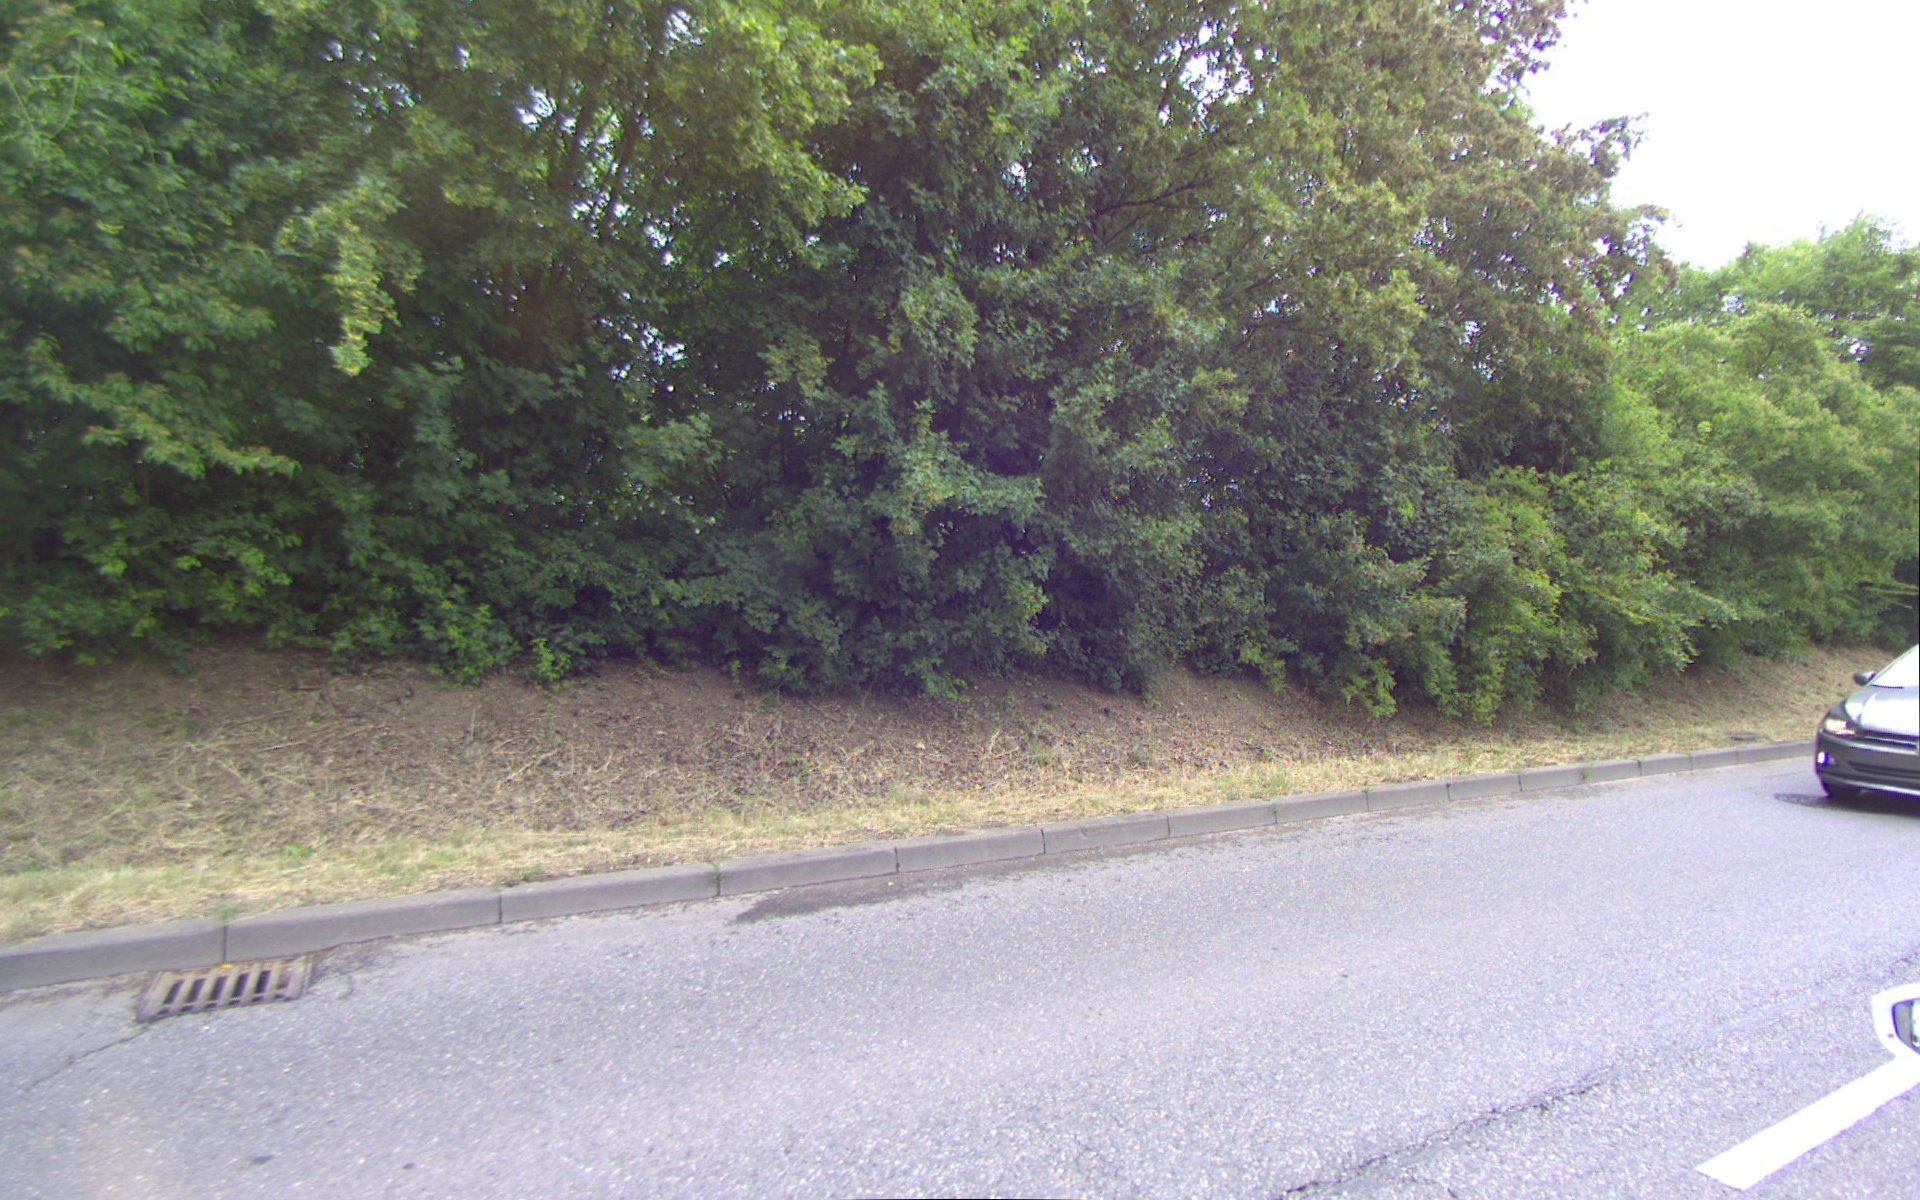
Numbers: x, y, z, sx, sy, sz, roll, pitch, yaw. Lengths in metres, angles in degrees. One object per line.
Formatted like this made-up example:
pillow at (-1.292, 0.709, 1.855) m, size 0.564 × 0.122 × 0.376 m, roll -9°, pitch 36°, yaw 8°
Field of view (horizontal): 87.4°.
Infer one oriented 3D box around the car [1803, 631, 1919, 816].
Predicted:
car at (9.167, 1.024, 8.756) m, size 3.777 × 1.419 × 1.634 m, roll 2°, pitch 0°, yaw -31°
